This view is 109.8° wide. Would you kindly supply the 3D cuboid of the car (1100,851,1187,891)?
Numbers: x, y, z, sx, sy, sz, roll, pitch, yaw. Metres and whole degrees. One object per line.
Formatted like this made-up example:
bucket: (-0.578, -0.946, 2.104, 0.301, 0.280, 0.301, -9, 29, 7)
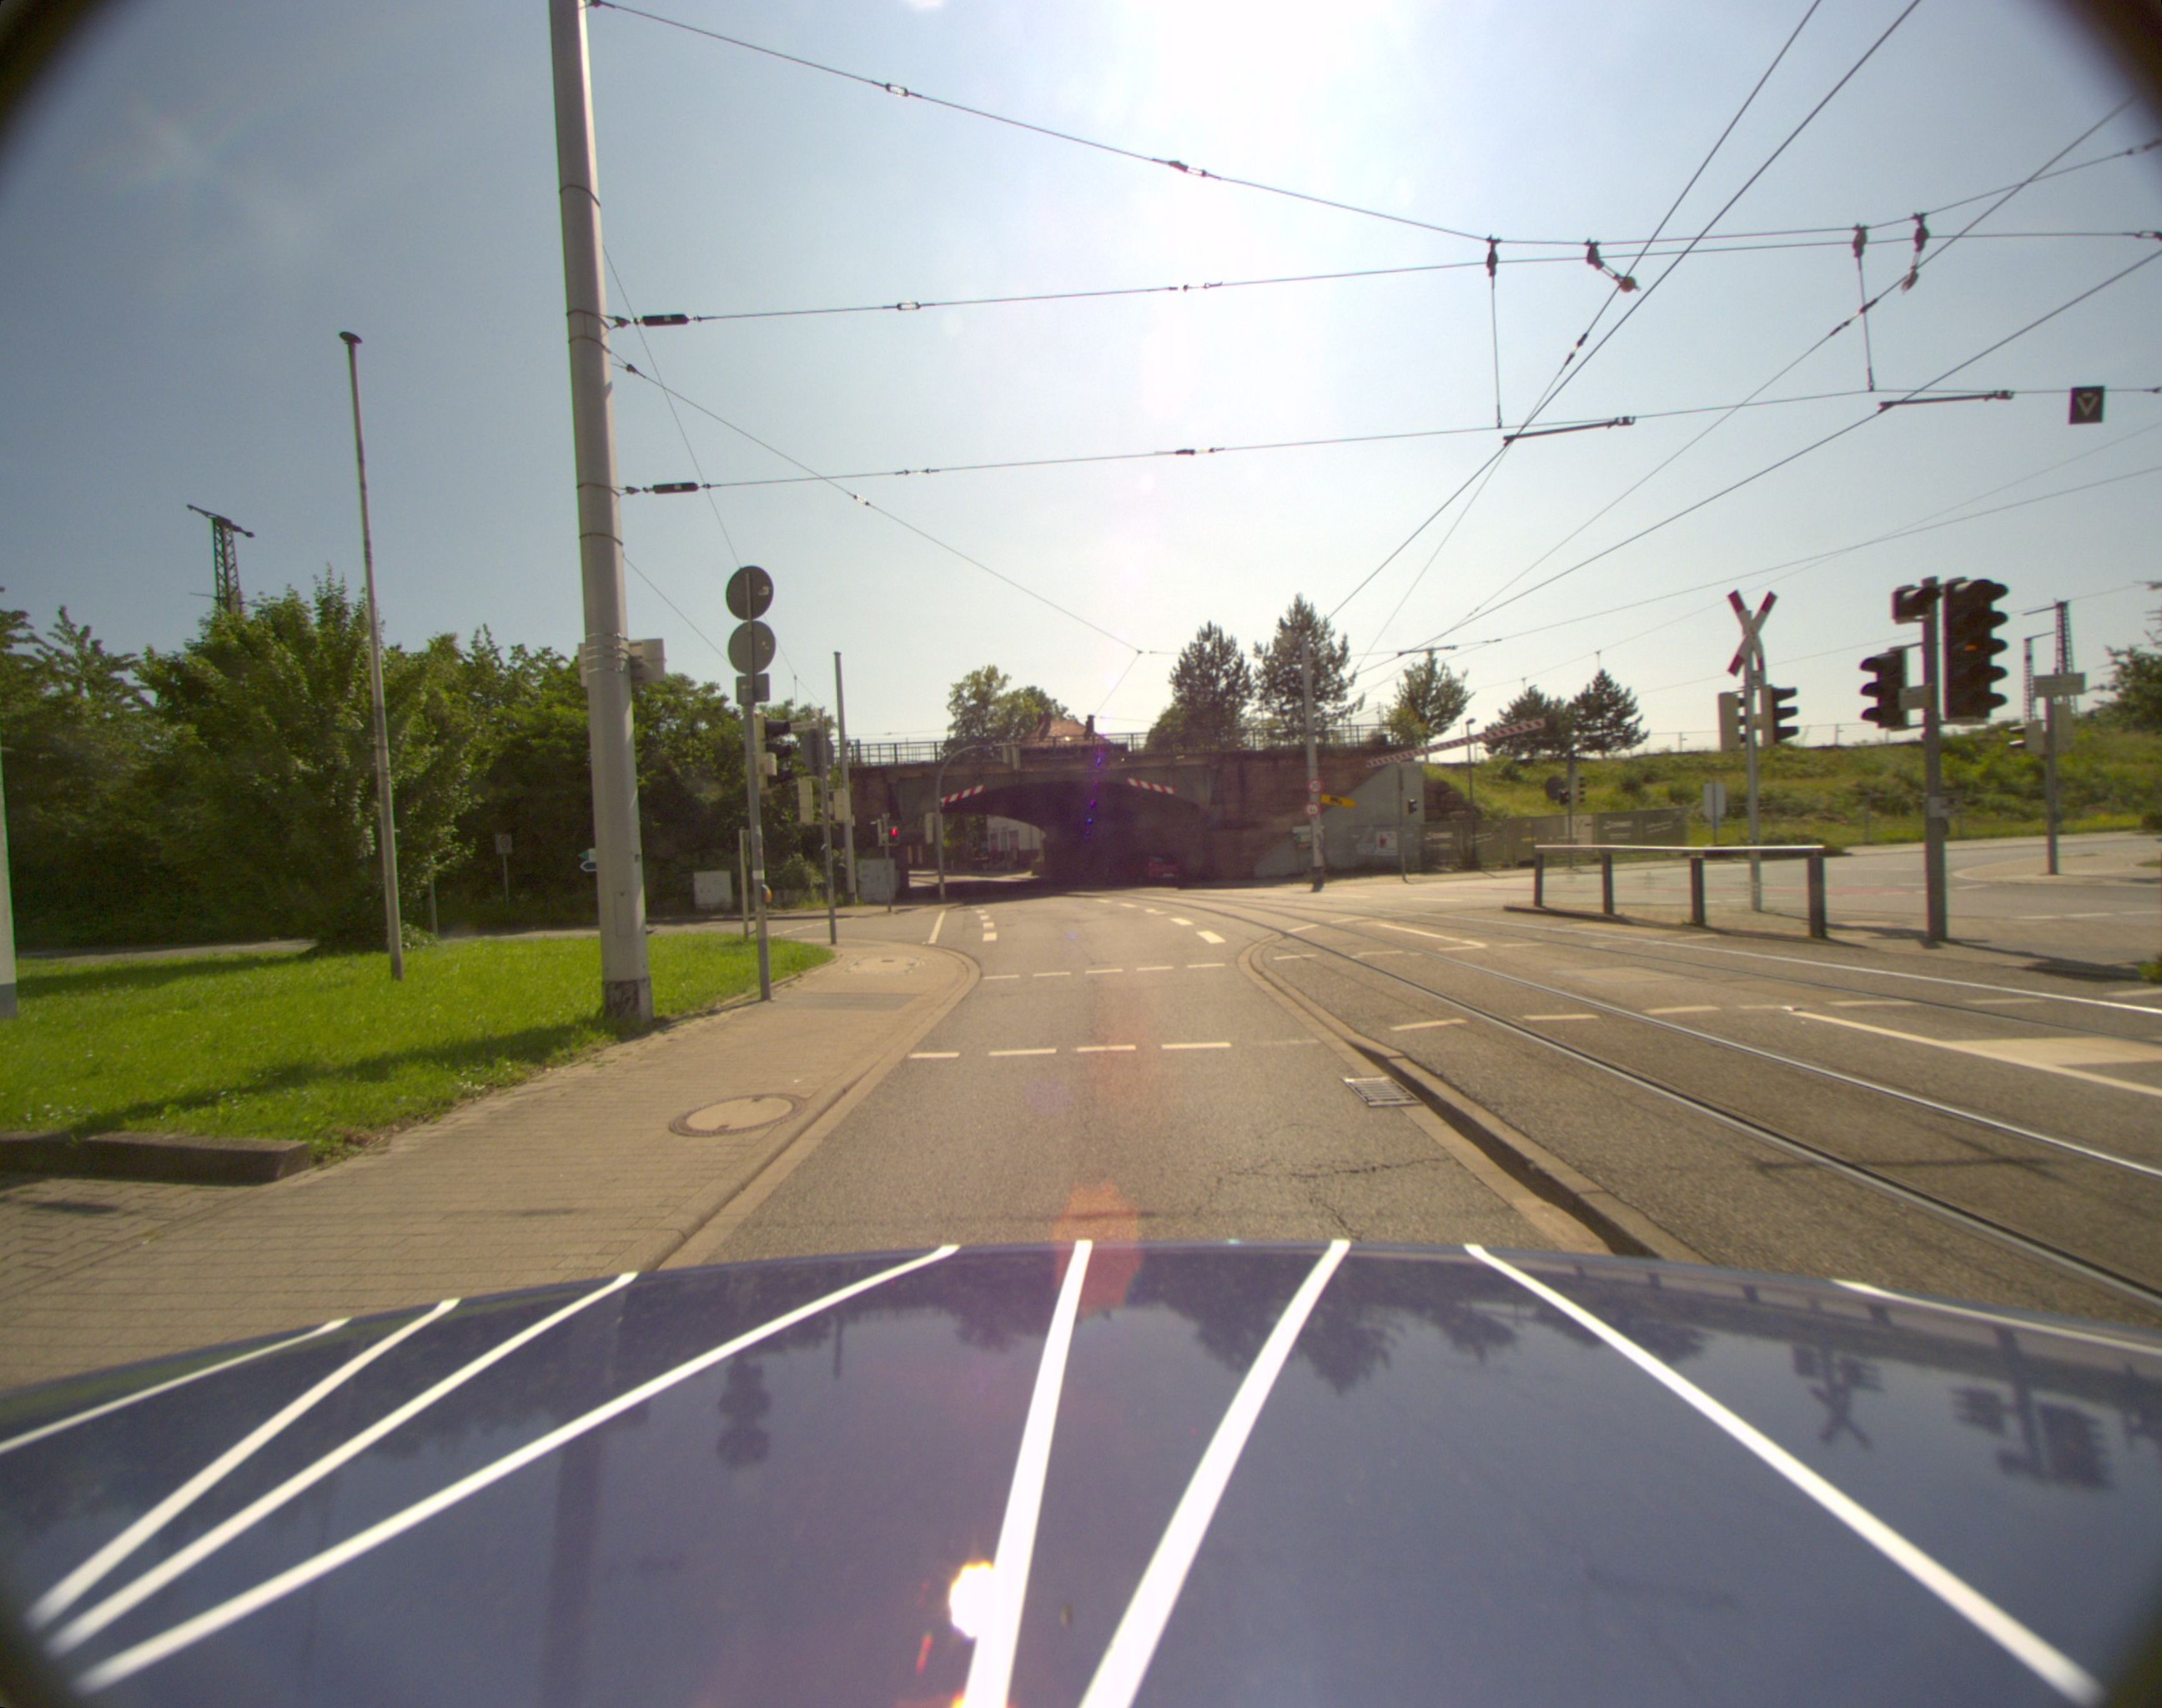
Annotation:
car: (2.739, 0.782, 34.122, 1.825, 1.594, 4.299, -5, 0, -27)
